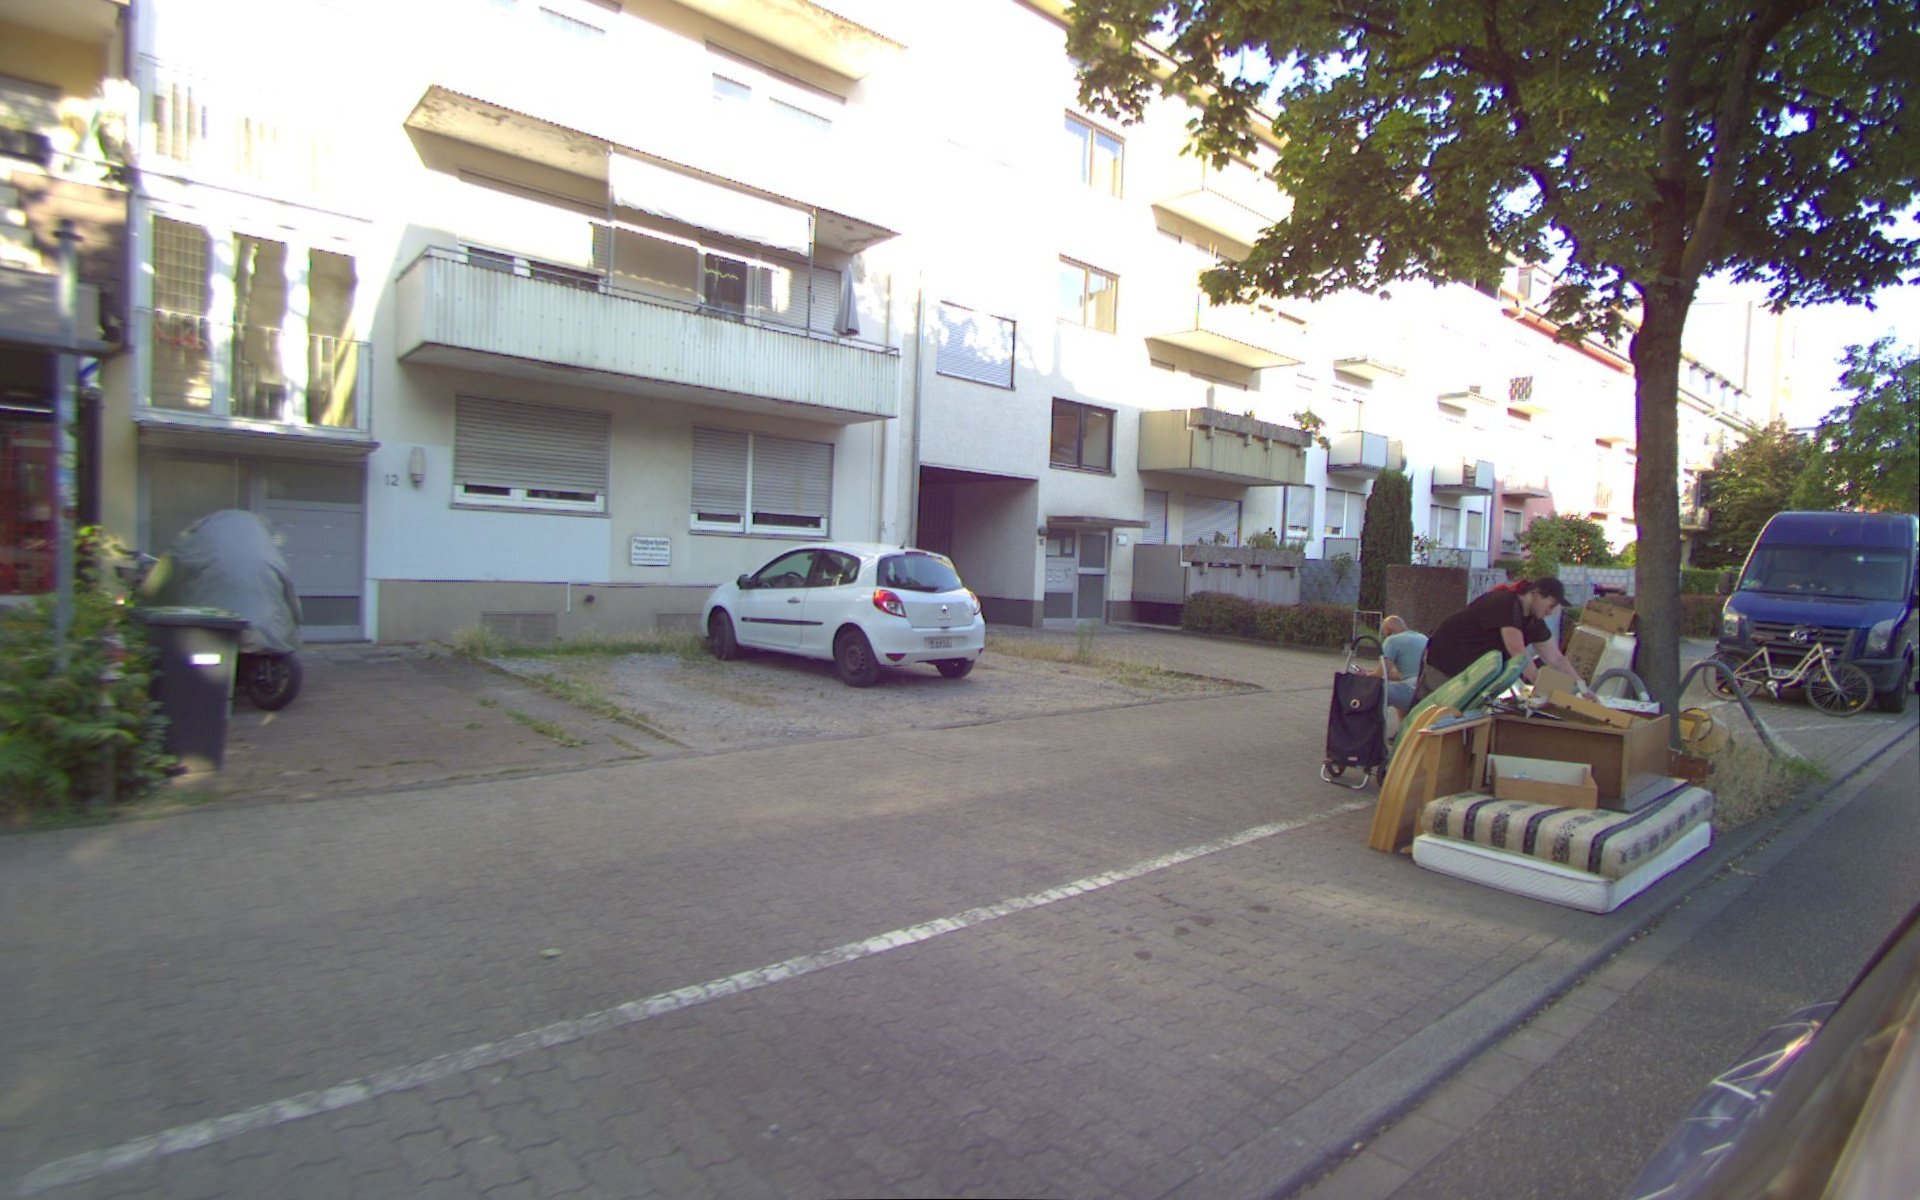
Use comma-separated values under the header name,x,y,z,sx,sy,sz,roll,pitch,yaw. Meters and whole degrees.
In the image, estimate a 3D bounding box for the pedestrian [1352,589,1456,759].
name,x,y,z,sx,sy,sz,roll,pitch,yaw
pedestrian,3.588,0.561,8.165,0.650,1.270,0.651,3,2,30

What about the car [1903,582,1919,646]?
name,x,y,z,sx,sy,sz,roll,pitch,yaw
car,24.985,0.379,25.234,4.668,1.504,1.922,0,3,-45

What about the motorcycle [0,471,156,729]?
name,x,y,z,sx,sy,sz,roll,pitch,yaw
motorcycle,-6.524,-0.051,7.481,0.717,1.641,2.203,1,2,-34

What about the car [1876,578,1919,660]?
name,x,y,z,sx,sy,sz,roll,pitch,yaw
car,21.205,0.380,21.848,3.694,1.662,1.775,-1,4,-43

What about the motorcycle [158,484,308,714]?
name,x,y,z,sx,sy,sz,roll,pitch,yaw
motorcycle,-5.943,-0.058,8.349,0.872,1.641,2.203,1,2,-34

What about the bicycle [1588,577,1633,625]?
name,x,y,z,sx,sy,sz,roll,pitch,yaw
bicycle,15.610,0.016,24.268,1.518,1.102,0.493,0,2,-42

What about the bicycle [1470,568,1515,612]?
name,x,y,z,sx,sy,sz,roll,pitch,yaw
bicycle,13.767,-0.251,26.170,1.518,1.102,0.493,0,2,-42

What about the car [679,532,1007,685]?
name,x,y,z,sx,sy,sz,roll,pitch,yaw
car,-1.518,-0.007,11.994,1.794,1.480,3.992,0,3,-44

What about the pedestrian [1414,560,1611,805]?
name,x,y,z,sx,sy,sz,roll,pitch,yaw
pedestrian,3.672,0.504,6.770,1.057,1.494,0.474,3,2,30

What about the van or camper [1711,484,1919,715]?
name,x,y,z,sx,sy,sz,roll,pitch,yaw
van or camper,12.888,-0.094,14.546,5.886,2.708,2.072,-1,3,-41

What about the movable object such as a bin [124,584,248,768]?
name,x,y,z,sx,sy,sz,roll,pitch,yaw
movable object such as a bin,-4.455,0.402,5.816,0.530,0.961,0.614,1,2,-40

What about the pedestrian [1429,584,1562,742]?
name,x,y,z,sx,sy,sz,roll,pitch,yaw
pedestrian,4.678,0.515,8.849,0.689,1.270,0.798,1,2,-43

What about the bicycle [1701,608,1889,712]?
name,x,y,z,sx,sy,sz,roll,pitch,yaw
bicycle,10.298,0.705,12.546,0.397,1.102,1.707,1,2,-38
